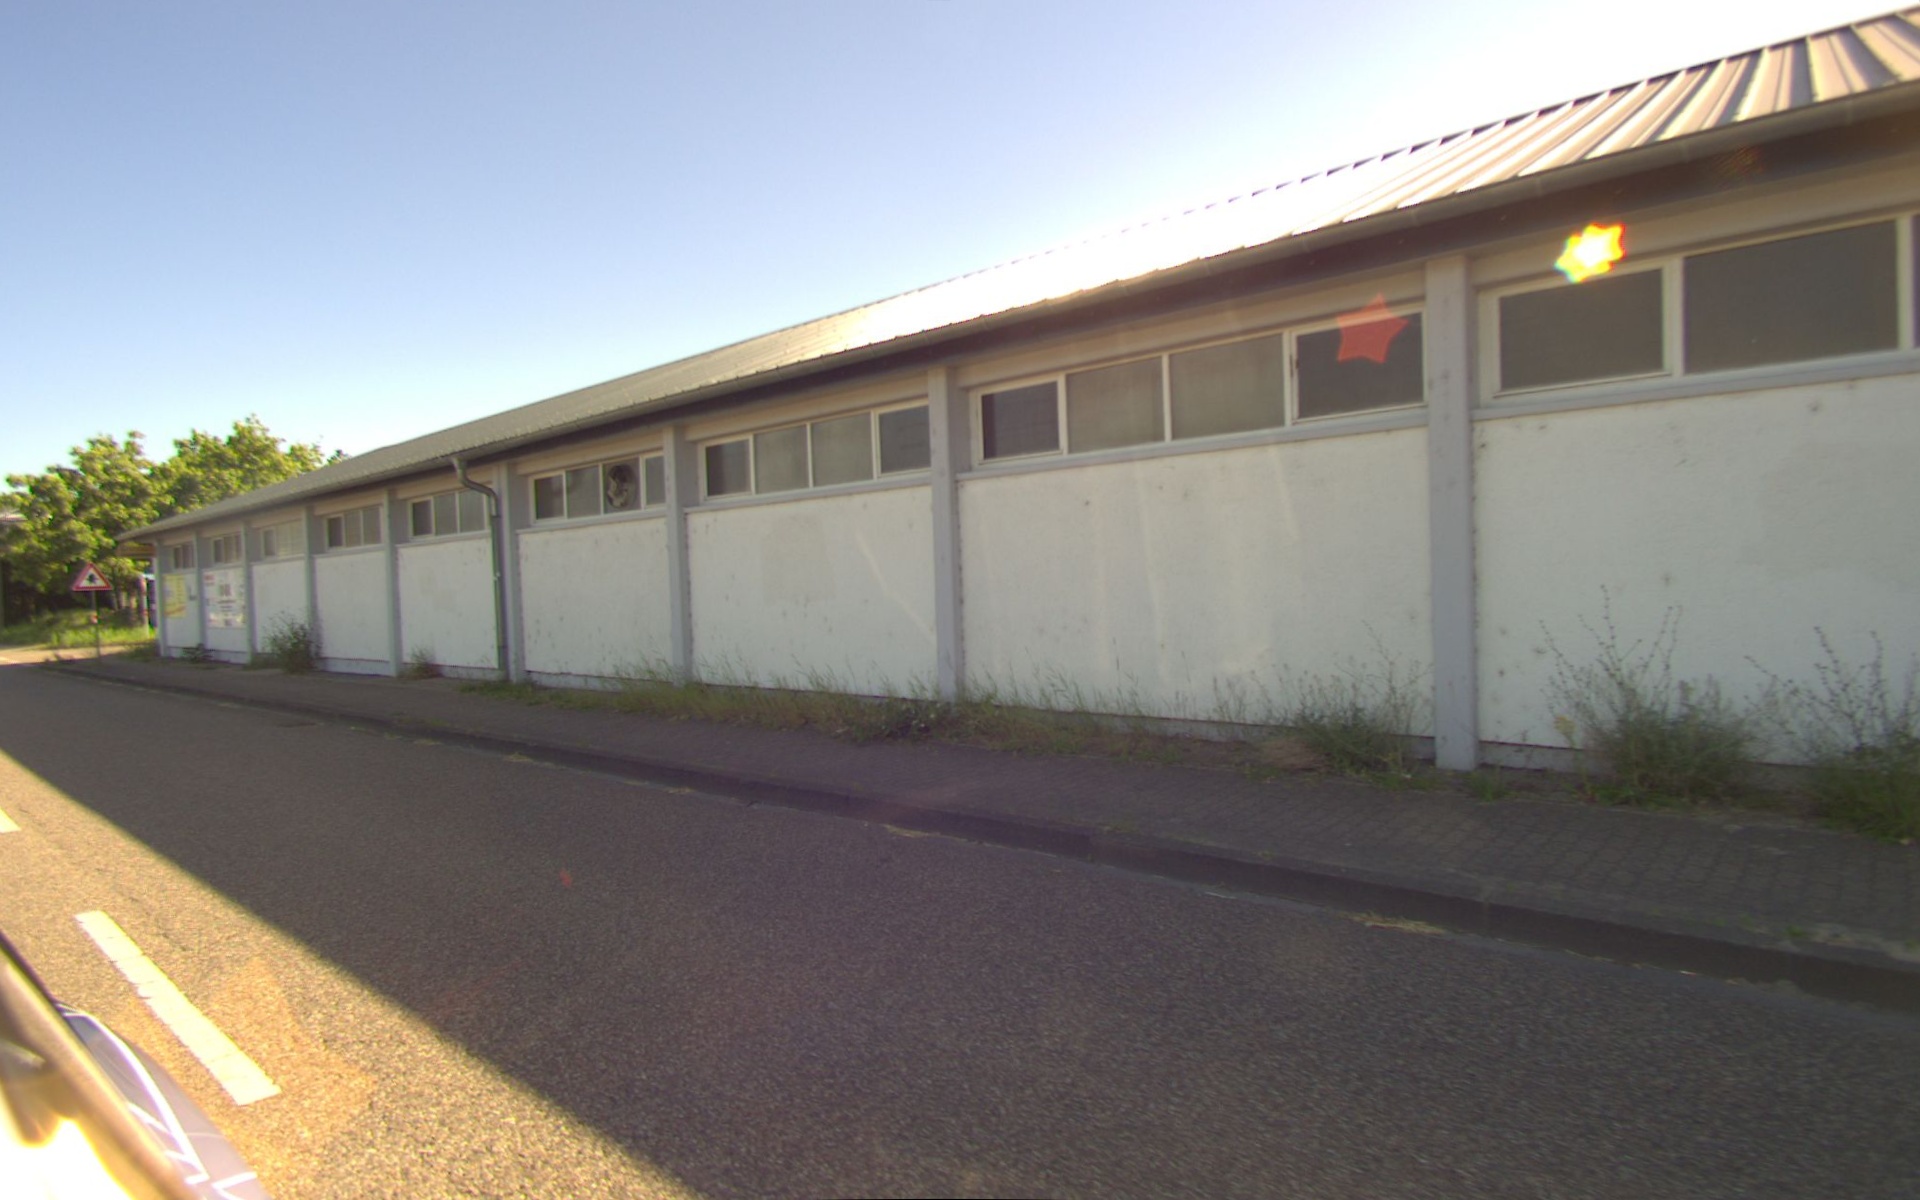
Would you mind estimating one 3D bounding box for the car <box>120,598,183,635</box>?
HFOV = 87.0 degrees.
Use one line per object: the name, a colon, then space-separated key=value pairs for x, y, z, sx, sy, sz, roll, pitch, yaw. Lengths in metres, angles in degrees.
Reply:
car: x=-62.688 y=1.295 z=78.608 sx=1.913 sy=2.701 sz=6.028 roll=-2 pitch=0 yaw=-20
